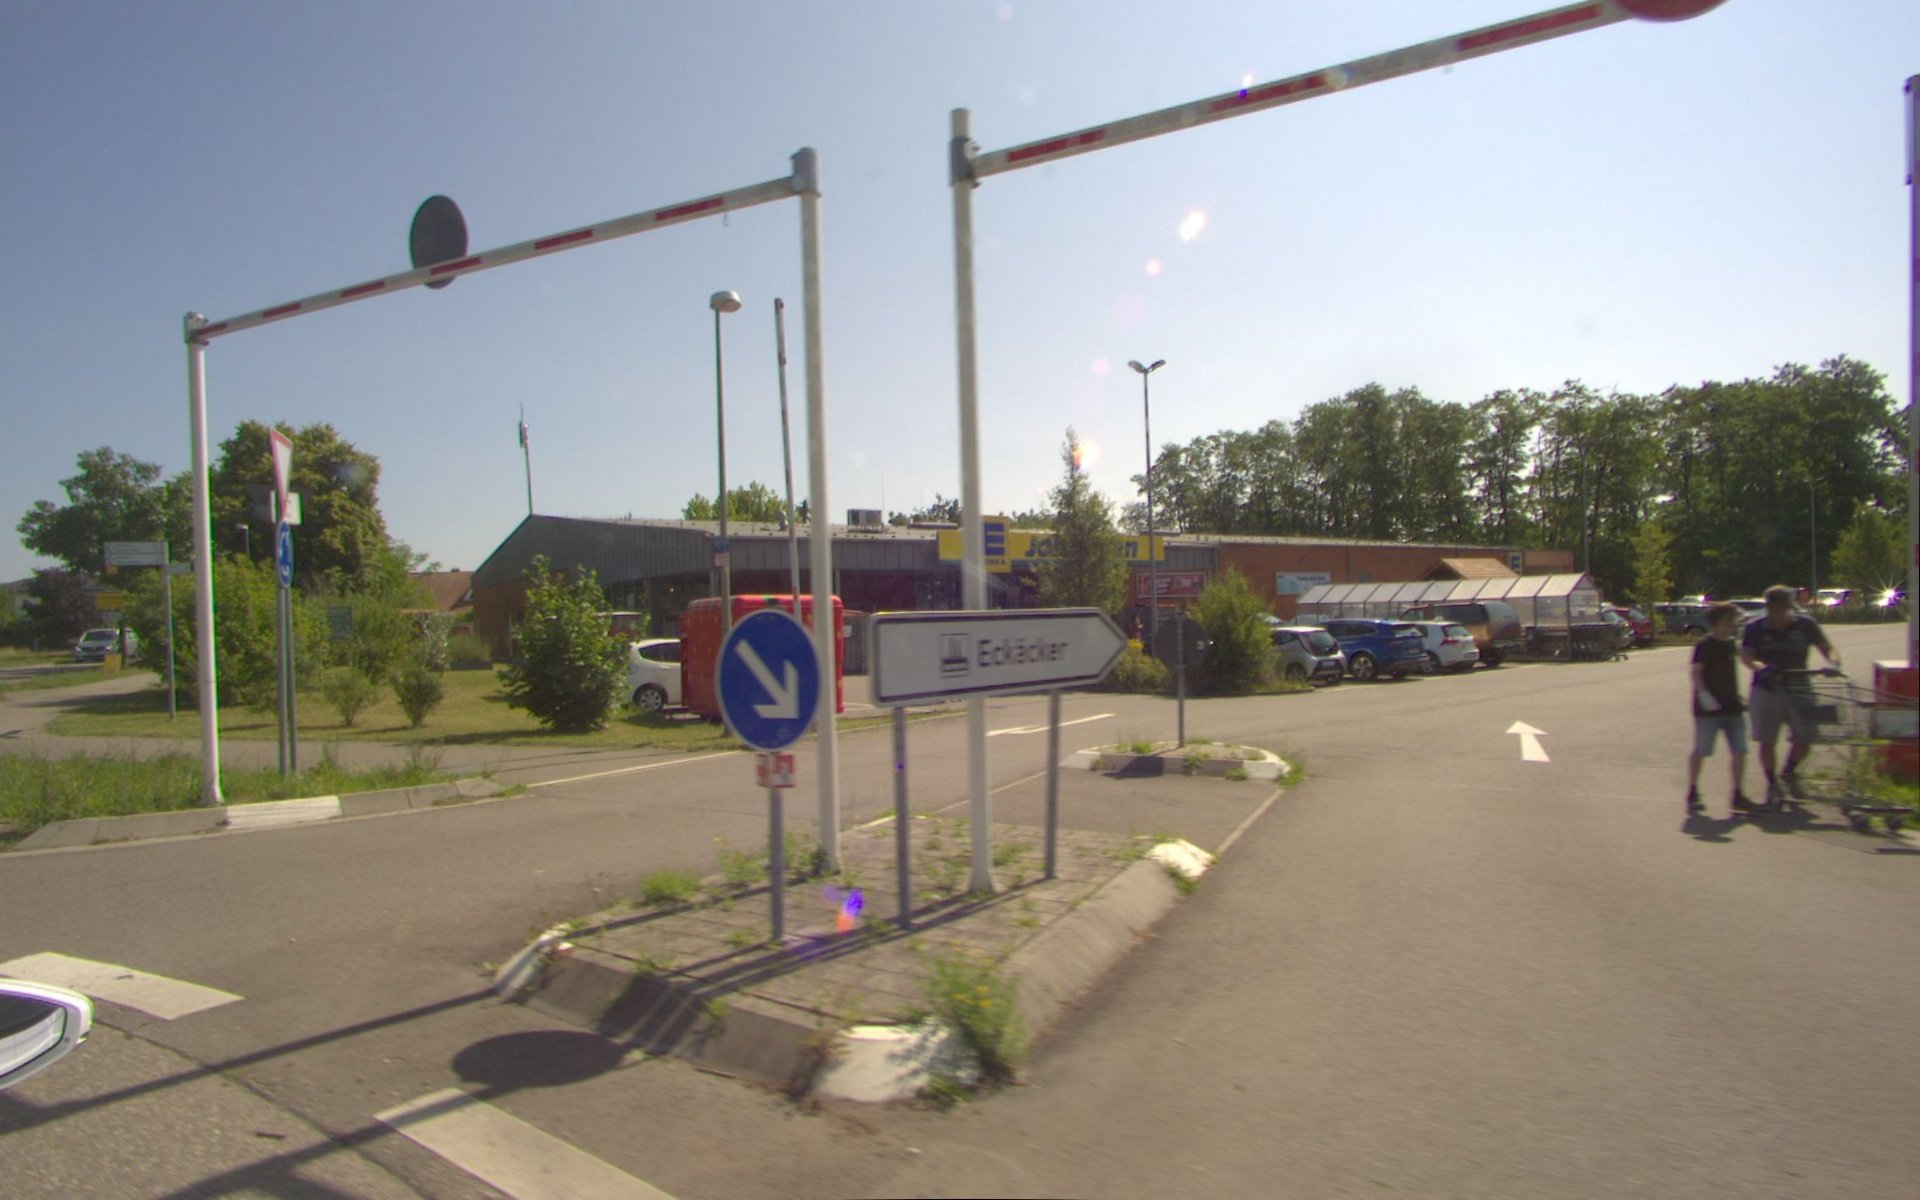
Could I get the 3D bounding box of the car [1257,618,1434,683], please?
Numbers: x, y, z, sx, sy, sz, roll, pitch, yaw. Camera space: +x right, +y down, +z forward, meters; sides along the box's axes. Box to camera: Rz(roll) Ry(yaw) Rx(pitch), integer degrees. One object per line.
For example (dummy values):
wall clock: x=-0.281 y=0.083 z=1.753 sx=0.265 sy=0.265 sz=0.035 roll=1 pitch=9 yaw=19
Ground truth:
car: x=10.336 y=1.321 z=27.191 sx=1.692 sy=1.591 sz=4.406 roll=0 pitch=-1 yaw=-30

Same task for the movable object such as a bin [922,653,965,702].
movable object such as a bin: x=-0.363 y=1.775 z=23.127 sx=0.754 sy=1.060 sz=1.040 roll=-1 pitch=-1 yaw=13

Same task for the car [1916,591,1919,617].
car: x=61.605 y=0.190 z=62.700 sx=4.206 sy=1.617 sz=1.784 roll=-1 pitch=0 yaw=-36

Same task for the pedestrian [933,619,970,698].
pedestrian: x=-0.214 y=1.413 z=24.557 sx=0.824 sy=1.895 sz=0.774 roll=-1 pitch=0 yaw=-4

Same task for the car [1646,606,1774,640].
car: x=32.466 y=1.011 z=43.455 sx=1.971 sy=1.372 sz=3.981 roll=-1 pitch=-1 yaw=-29

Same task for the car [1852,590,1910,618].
car: x=60.279 y=0.226 z=65.531 sx=3.947 sy=1.733 sz=1.931 roll=-1 pitch=0 yaw=-34

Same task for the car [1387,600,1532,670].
car: x=14.940 y=1.047 z=30.132 sx=1.850 sy=1.953 sz=3.478 roll=-1 pitch=-1 yaw=-27

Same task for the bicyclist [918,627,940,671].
bicyclist: x=-1.097 y=1.719 z=35.230 sx=0.596 sy=1.535 sz=0.676 roll=-1 pitch=0 yaw=-17

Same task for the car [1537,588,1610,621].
car: x=43.684 y=0.333 z=71.365 sx=1.972 sy=2.275 sz=4.003 roll=-1 pitch=-1 yaw=-31

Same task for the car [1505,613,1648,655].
car: x=22.249 y=1.237 z=36.272 sx=1.975 sy=1.394 sz=3.973 roll=0 pitch=-2 yaw=-36

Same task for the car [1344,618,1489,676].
car: x=12.946 y=1.303 z=28.585 sx=1.690 sy=1.517 sz=3.478 roll=-1 pitch=-1 yaw=-27

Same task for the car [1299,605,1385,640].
car: x=20.833 y=1.252 z=54.731 sx=1.977 sy=1.839 sz=3.969 roll=0 pitch=-1 yaw=-38

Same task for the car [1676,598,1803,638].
car: x=34.605 y=0.829 z=44.558 sx=1.970 sy=1.683 sz=3.982 roll=-1 pitch=-1 yaw=-29

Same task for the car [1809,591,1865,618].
car: x=59.125 y=0.292 z=67.498 sx=3.947 sy=1.733 sz=1.931 roll=-1 pitch=0 yaw=-34

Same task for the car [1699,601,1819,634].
car: x=37.413 y=0.839 z=46.970 sx=1.863 sy=1.416 sz=3.981 roll=-1 pitch=-1 yaw=-30

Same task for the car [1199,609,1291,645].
car: x=14.015 y=1.332 z=49.444 sx=1.977 sy=1.706 sz=3.969 roll=-1 pitch=-1 yaw=-38

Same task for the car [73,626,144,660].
car: x=-49.502 y=2.449 z=58.304 sx=1.969 sy=1.839 sz=5.179 roll=-1 pitch=-1 yaw=-27

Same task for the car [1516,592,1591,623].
car: x=40.691 y=0.519 z=68.739 sx=1.972 sy=2.039 sz=3.979 roll=-1 pitch=-1 yaw=-31

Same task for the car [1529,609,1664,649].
car: x=24.024 y=1.095 z=37.900 sx=1.693 sy=1.416 sz=3.974 roll=-1 pitch=-1 yaw=-35

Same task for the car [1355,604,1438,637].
car: x=25.479 y=1.201 z=58.554 sx=1.976 sy=1.839 sz=3.970 roll=0 pitch=-1 yaw=-38

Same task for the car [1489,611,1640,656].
car: x=20.569 y=1.140 z=34.208 sx=1.957 sy=1.438 sz=3.975 roll=0 pitch=-2 yaw=-34

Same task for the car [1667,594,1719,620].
car: x=54.375 y=0.510 z=74.247 sx=3.947 sy=1.824 sz=1.931 roll=-1 pitch=0 yaw=-34

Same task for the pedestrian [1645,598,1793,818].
pedestrian: x=6.012 y=0.834 z=7.961 sx=0.690 sy=1.669 sz=0.596 roll=-1 pitch=0 yaw=-1

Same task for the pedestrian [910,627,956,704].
pedestrian: x=-0.593 y=1.434 z=22.175 sx=0.799 sy=1.640 sz=0.925 roll=-1 pitch=-1 yaw=13

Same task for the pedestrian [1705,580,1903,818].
pedestrian: x=6.809 y=0.770 z=8.127 sx=0.863 sy=1.808 sz=0.842 roll=-1 pitch=0 yaw=0

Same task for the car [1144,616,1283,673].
car: x=7.807 y=1.352 z=31.193 sx=1.887 sy=1.643 sz=3.977 roll=-1 pitch=-1 yaw=-32

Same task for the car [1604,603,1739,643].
car: x=28.203 y=0.929 z=39.801 sx=1.944 sy=1.505 sz=3.973 roll=0 pitch=-1 yaw=-36

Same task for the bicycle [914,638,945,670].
bicycle: x=-1.082 y=1.880 z=35.249 sx=0.544 sy=1.055 sz=2.073 roll=-1 pitch=-1 yaw=-17

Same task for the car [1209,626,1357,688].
car: x=8.287 y=1.433 z=25.985 sx=1.690 sy=1.476 sz=3.478 roll=-1 pitch=-1 yaw=-27

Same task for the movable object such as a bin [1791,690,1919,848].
movable object such as a bin: x=6.820 y=1.171 z=7.087 sx=0.863 sy=0.967 sz=1.204 roll=-1 pitch=-1 yaw=0

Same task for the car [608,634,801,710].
car: x=-5.490 y=1.494 z=21.643 sx=3.720 sy=1.464 sz=1.716 roll=1 pitch=-1 yaw=-32
